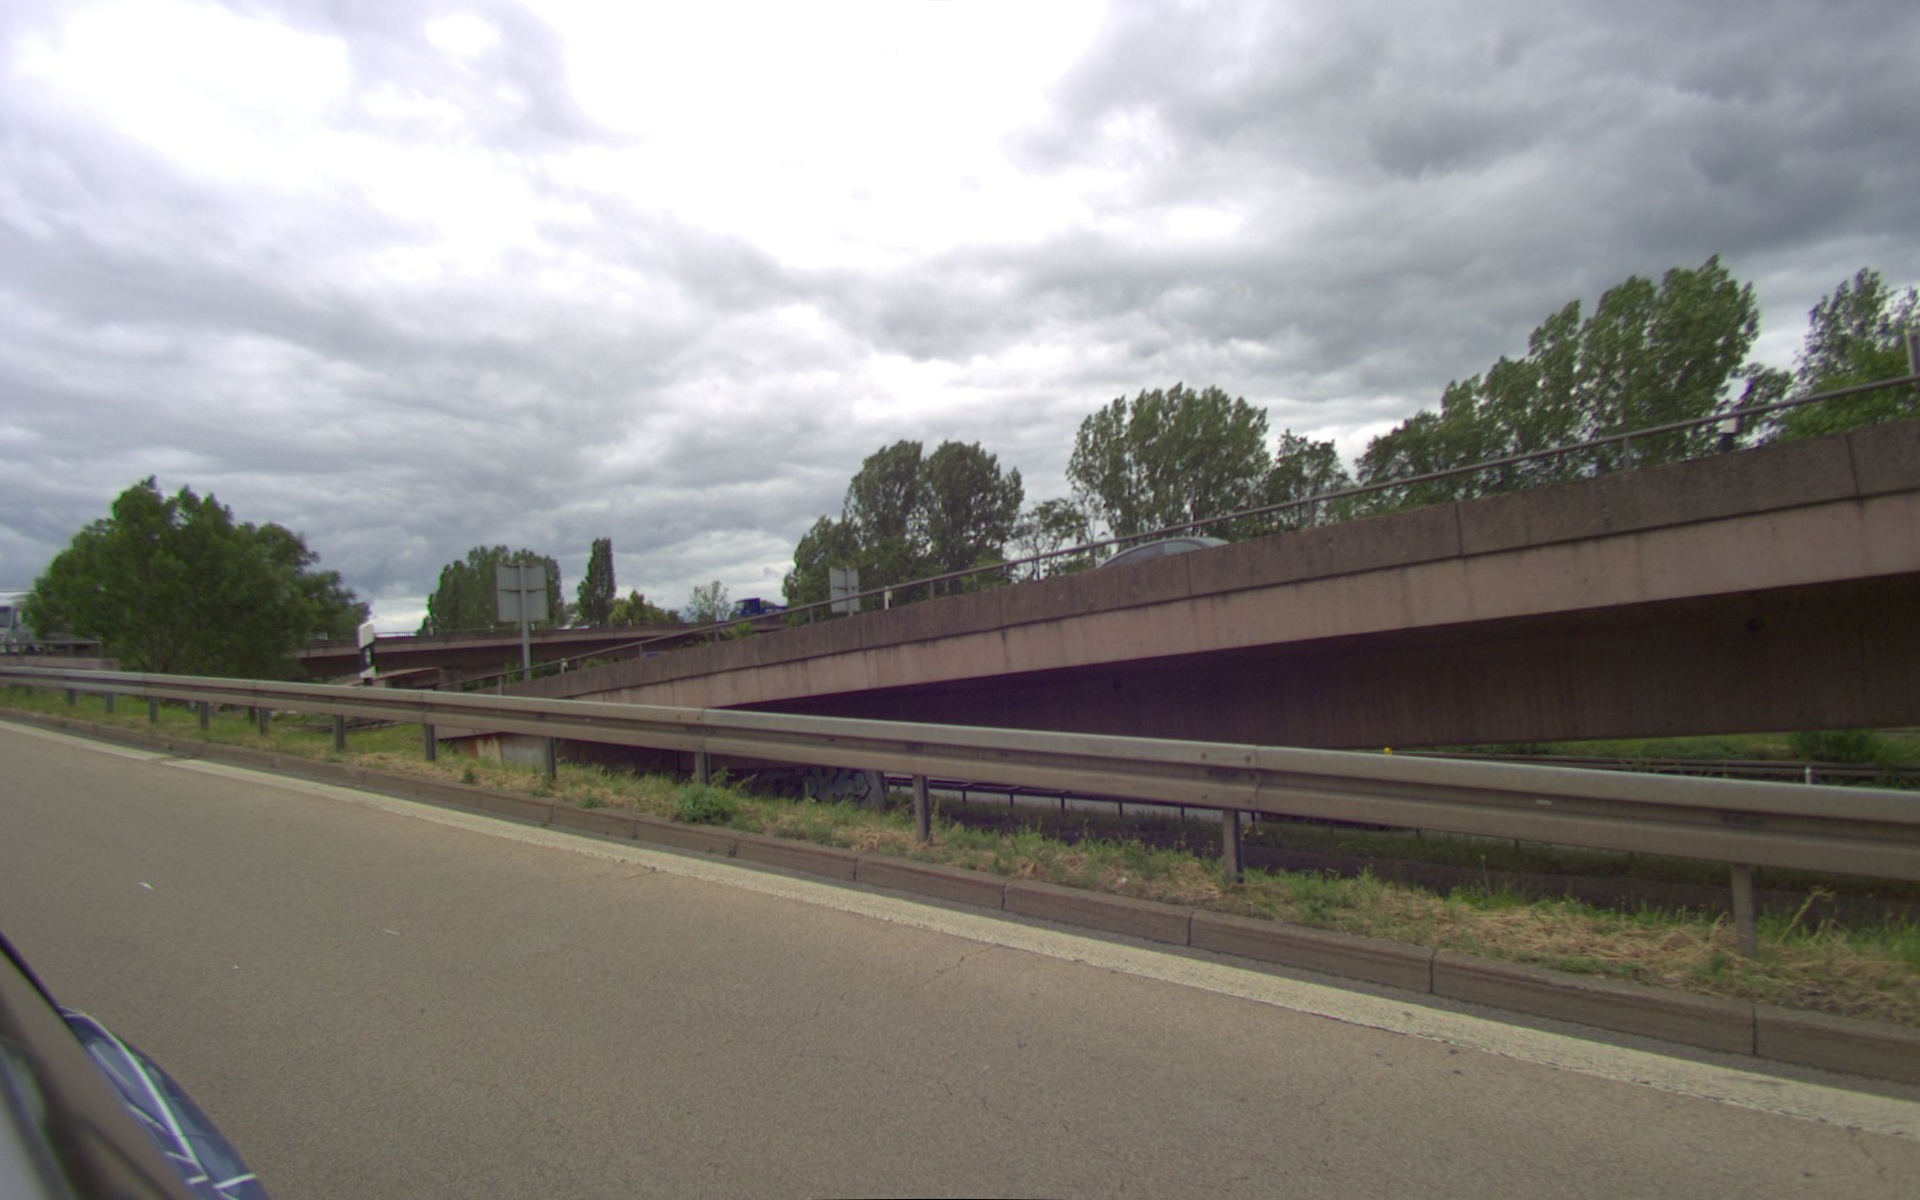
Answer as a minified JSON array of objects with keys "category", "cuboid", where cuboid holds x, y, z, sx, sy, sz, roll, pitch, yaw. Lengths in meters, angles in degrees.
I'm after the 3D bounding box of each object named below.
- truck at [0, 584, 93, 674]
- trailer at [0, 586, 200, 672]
[{"category":"truck","cuboid":[-49.484,1.601,52.600,4.101,4.336,5.977,-4,-2,-10]},{"category":"trailer","cuboid":[-50.730,1.825,59.161,4.062,4.276,13.918,-4,-2,-10]}]
